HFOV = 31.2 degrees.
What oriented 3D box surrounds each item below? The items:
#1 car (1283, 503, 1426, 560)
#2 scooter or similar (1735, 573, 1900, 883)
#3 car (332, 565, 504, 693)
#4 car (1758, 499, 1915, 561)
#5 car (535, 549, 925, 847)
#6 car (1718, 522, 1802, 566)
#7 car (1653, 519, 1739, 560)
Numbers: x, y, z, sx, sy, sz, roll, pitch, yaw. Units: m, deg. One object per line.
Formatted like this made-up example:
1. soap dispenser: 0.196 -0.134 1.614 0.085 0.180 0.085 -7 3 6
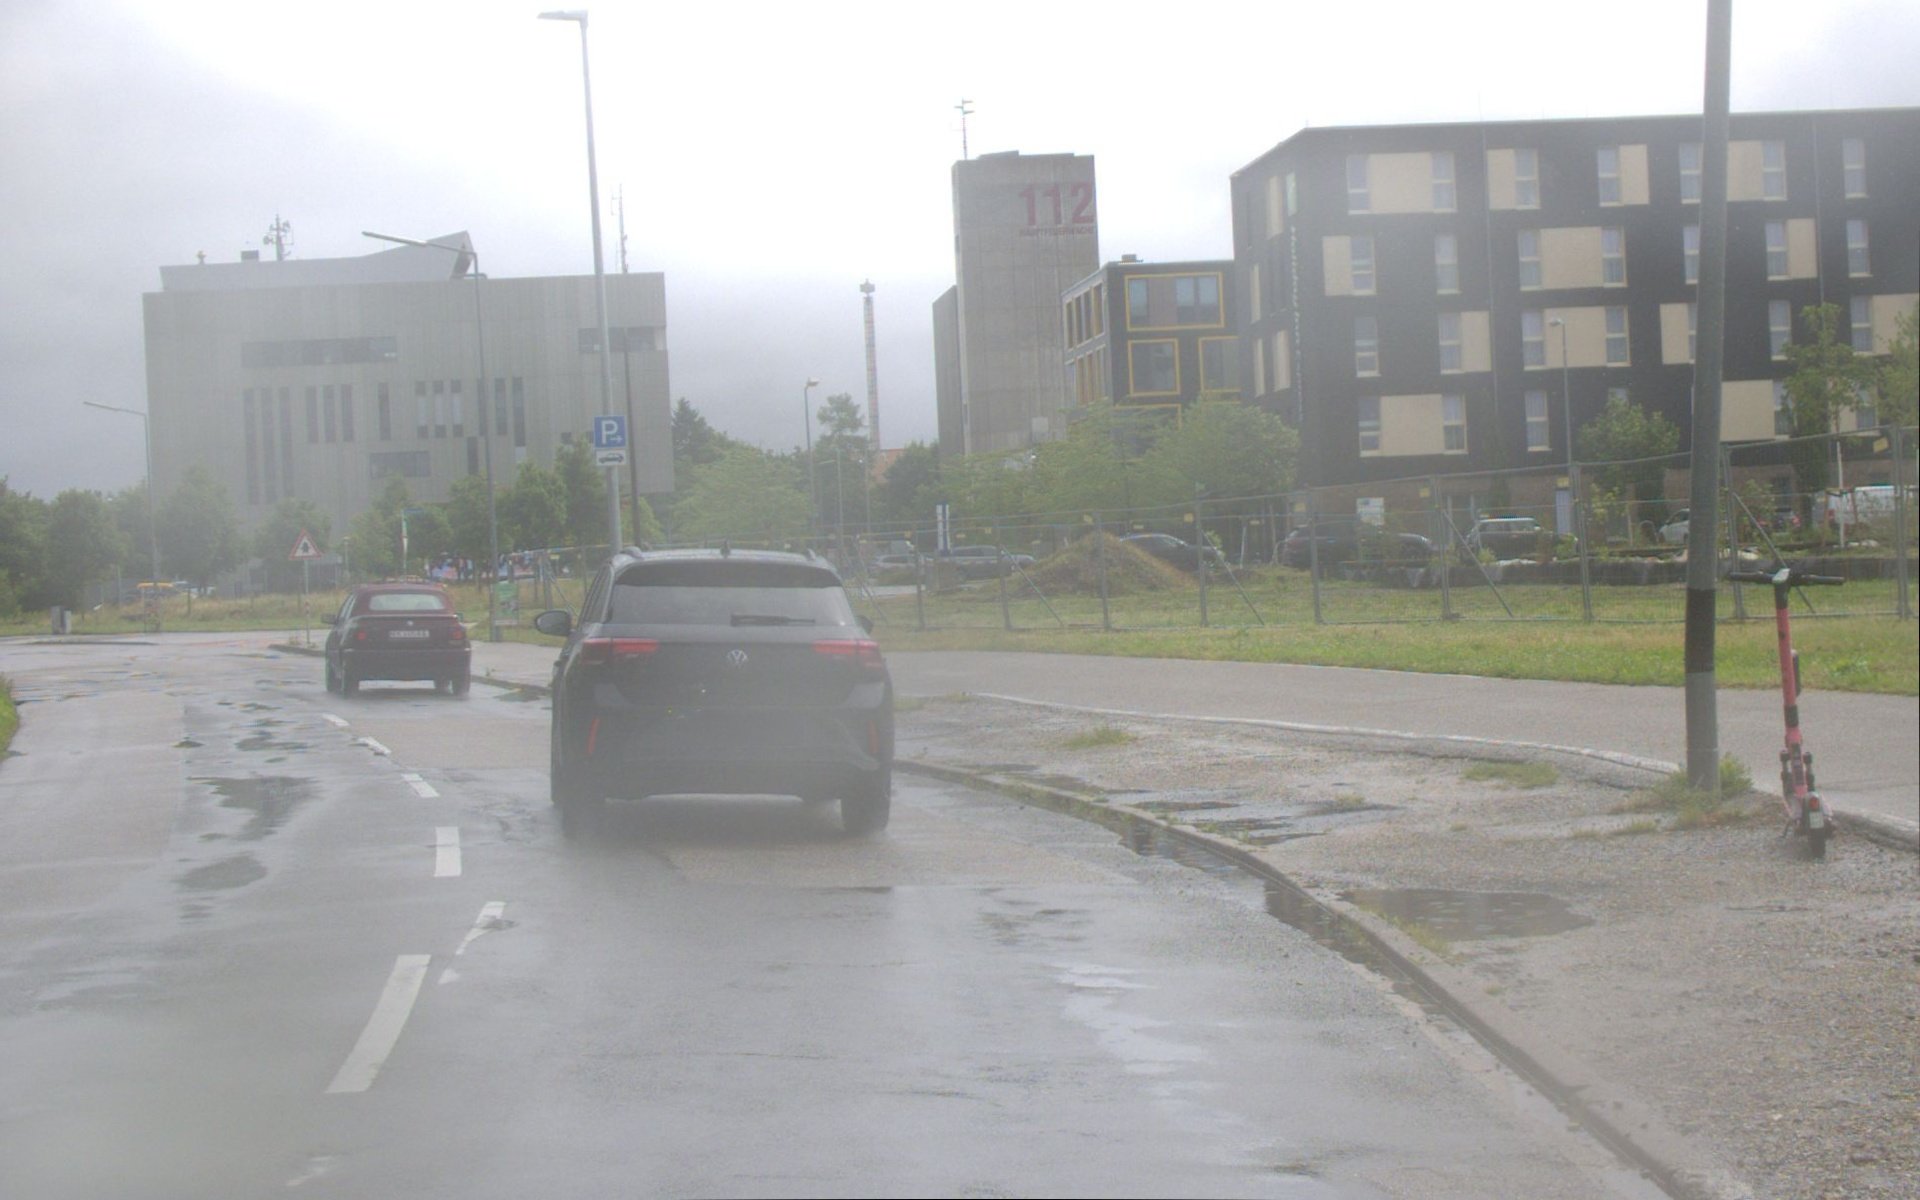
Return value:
1. car: 12.265 -2.124 106.992 3.986 1.722 2.001 0 1 -10
2. scooter or similar: 3.641 0.518 14.662 0.491 1.210 1.340 -3 2 8
3. car: -7.215 0.345 45.507 1.841 1.437 4.001 -5 2 -13
4. car: 27.753 -2.207 108.939 4.322 1.766 2.000 2 0 -5
5. car: -1.418 0.477 19.582 1.986 1.515 4.001 0 1 -7
6. car: 27.755 -1.935 119.306 1.638 1.392 3.782 -1 0 -6
7. car: 25.498 -2.087 119.178 1.762 1.390 3.809 0 1 -7
